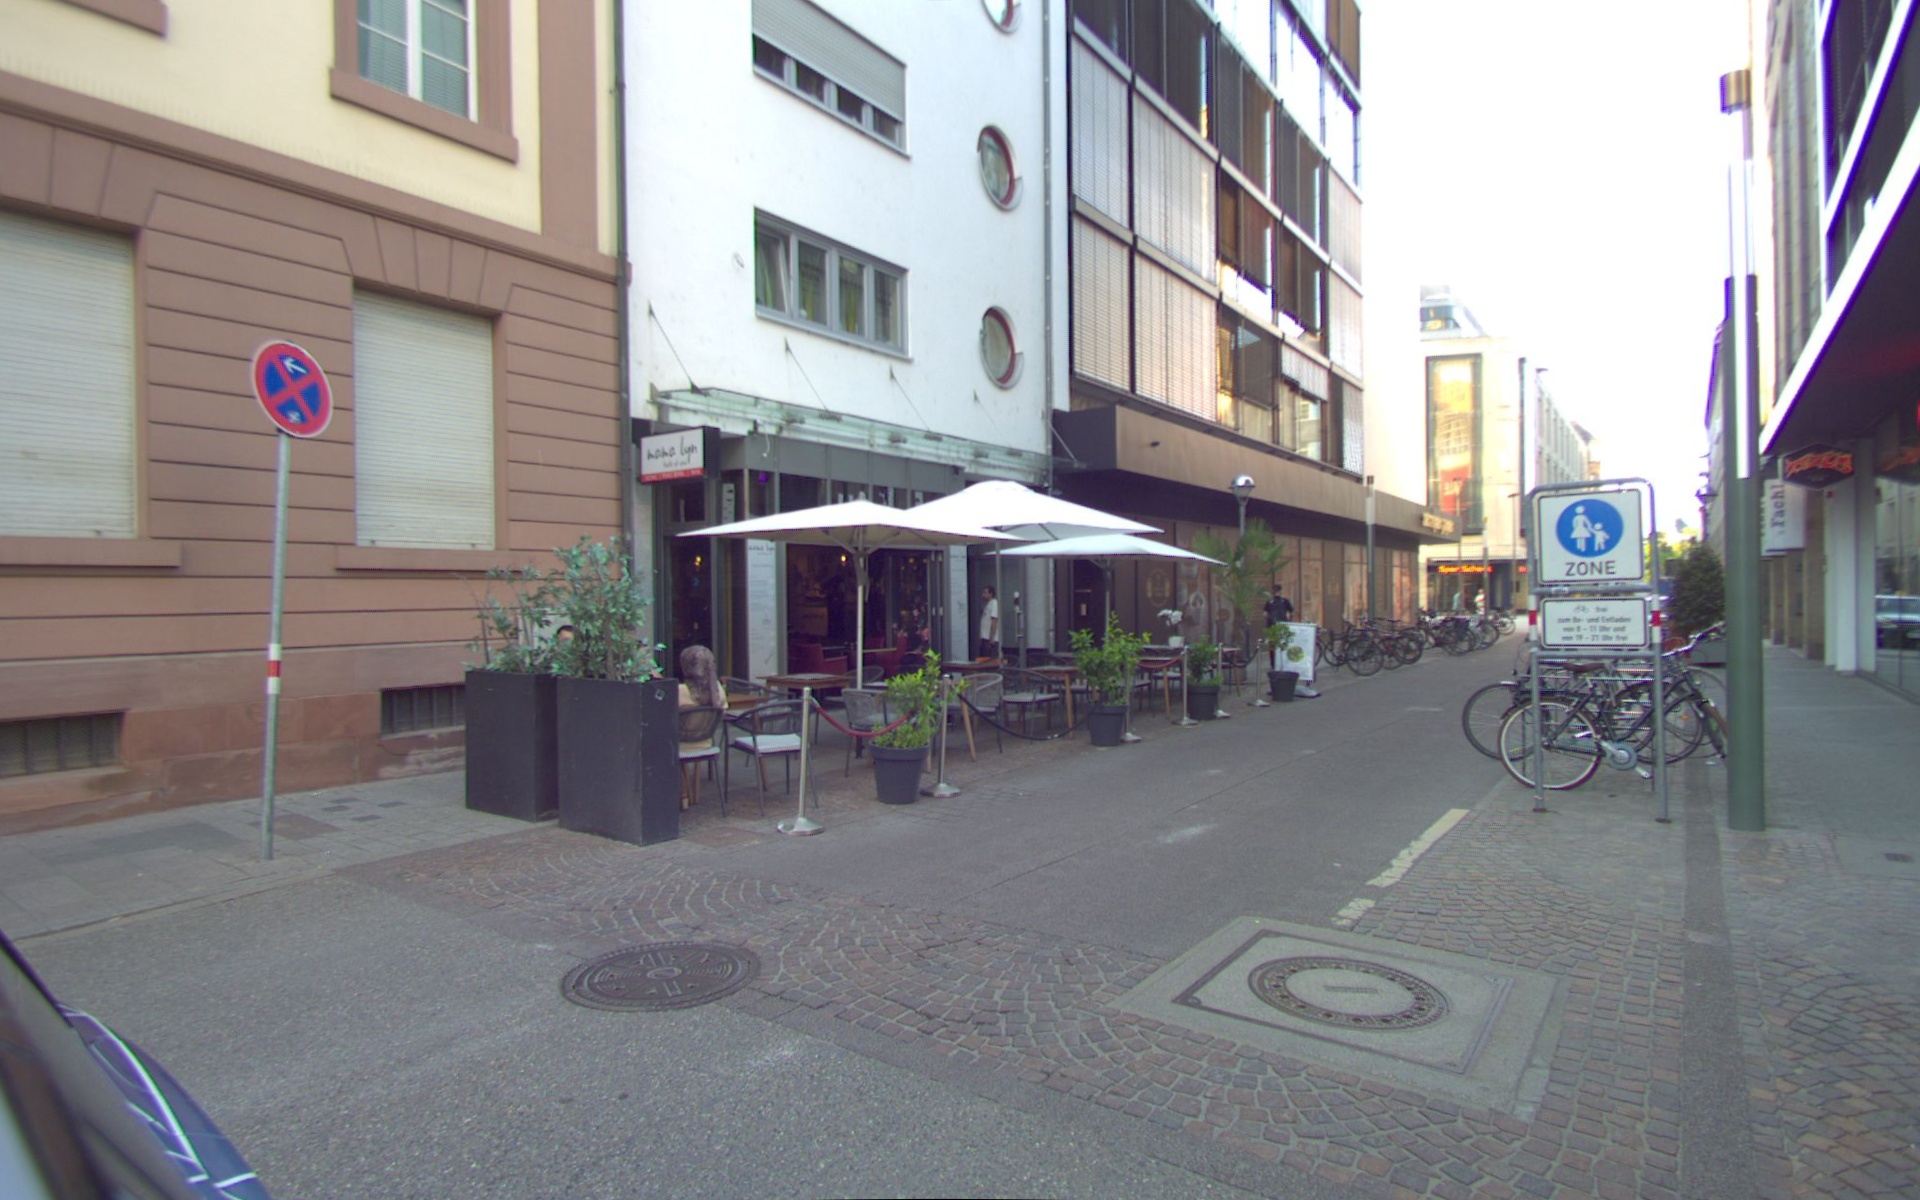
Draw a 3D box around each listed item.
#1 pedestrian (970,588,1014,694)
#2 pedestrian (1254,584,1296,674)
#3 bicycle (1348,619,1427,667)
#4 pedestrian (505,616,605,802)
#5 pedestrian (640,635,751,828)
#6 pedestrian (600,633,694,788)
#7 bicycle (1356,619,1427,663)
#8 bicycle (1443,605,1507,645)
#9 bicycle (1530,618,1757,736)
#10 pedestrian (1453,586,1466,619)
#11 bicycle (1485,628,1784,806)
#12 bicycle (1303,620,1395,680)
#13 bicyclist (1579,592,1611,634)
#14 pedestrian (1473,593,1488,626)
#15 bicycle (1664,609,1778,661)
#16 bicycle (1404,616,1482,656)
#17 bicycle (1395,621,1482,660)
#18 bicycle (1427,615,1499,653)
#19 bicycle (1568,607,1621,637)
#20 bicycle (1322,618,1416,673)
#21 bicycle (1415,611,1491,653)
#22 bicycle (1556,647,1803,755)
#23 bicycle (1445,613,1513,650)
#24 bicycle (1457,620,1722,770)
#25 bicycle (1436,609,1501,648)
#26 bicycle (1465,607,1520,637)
[{"bbox_3d":[0.524,0.648,16.332,0.617,1.678,0.669,-1,0,8],"label":"pedestrian"},{"bbox_3d":[6.430,0.579,20.664,0.735,1.798,0.962,-1,0,21],"label":"pedestrian"},{"bbox_3d":[9.530,0.950,22.576,1.553,1.045,0.460,-1,-1,35],"label":"bicycle"},{"bbox_3d":[-3.130,0.812,7.833,0.488,1.359,0.542,-1,-1,38],"label":"pedestrian"},{"bbox_3d":[-1.791,0.855,6.866,0.460,1.221,0.555,-1,-1,38],"label":"pedestrian"},{"bbox_3d":[-2.624,0.898,8.494,0.523,1.220,0.542,-1,-1,38],"label":"pedestrian"},{"bbox_3d":[10.111,0.949,23.731,1.452,1.013,0.460,-1,-1,35],"label":"bicycle"},{"bbox_3d":[16.245,0.776,31.939,1.730,1.238,0.460,-1,-1,35],"label":"bicycle"},{"bbox_3d":[7.173,0.789,10.710,1.907,1.153,0.550,-2,-1,35],"label":"bicycle"},{"bbox_3d":[24.072,0.120,48.763,0.475,1.564,0.432,-1,-1,20],"label":"pedestrian"},{"bbox_3d":[4.768,0.789,7.262,1.670,1.122,0.701,-3,-2,35],"label":"bicycle"},{"bbox_3d":[7.465,0.942,19.446,1.539,1.093,0.542,-1,-1,35],"label":"bicycle"},{"bbox_3d":[22.402,0.471,35.686,0.724,1.459,0.576,-1,-1,-19],"label":"bicyclist"},{"bbox_3d":[25.115,0.474,48.808,0.470,1.584,0.381,-1,-1,-15],"label":"pedestrian"},{"bbox_3d":[15.262,0.711,20.347,1.790,1.022,0.363,-2,-1,35],"label":"bicycle"},{"bbox_3d":[12.818,0.945,26.896,1.791,1.016,0.525,-1,-1,35],"label":"bicycle"},{"bbox_3d":[12.206,1.022,25.856,1.941,0.964,0.460,-1,-1,35],"label":"bicycle"},{"bbox_3d":[14.446,0.968,29.083,1.773,1.059,0.460,-1,-1,35],"label":"bicycle"},{"bbox_3d":[22.354,0.770,35.661,1.763,1.022,0.586,-1,-1,-19],"label":"bicycle"},{"bbox_3d":[8.531,0.931,21.136,1.724,1.100,0.542,-1,-1,35],"label":"bicycle"},{"bbox_3d":[13.662,0.883,28.074,1.845,1.144,0.460,-1,-1,35],"label":"bicycle"},{"bbox_3d":[6.575,0.909,9.346,1.789,0.902,0.449,-3,-2,35],"label":"bicycle"},{"bbox_3d":[15.313,0.914,29.880,1.730,1.059,0.460,-1,-1,35],"label":"bicycle"},{"bbox_3d":[5.361,0.787,8.705,1.837,1.159,0.602,-3,-2,35],"label":"bicycle"},{"bbox_3d":[15.709,0.881,31.260,1.730,1.154,0.460,-1,-1,35],"label":"bicycle"},{"bbox_3d":[19.423,0.791,36.946,1.730,1.069,0.432,-1,-1,35],"label":"bicycle"}]
